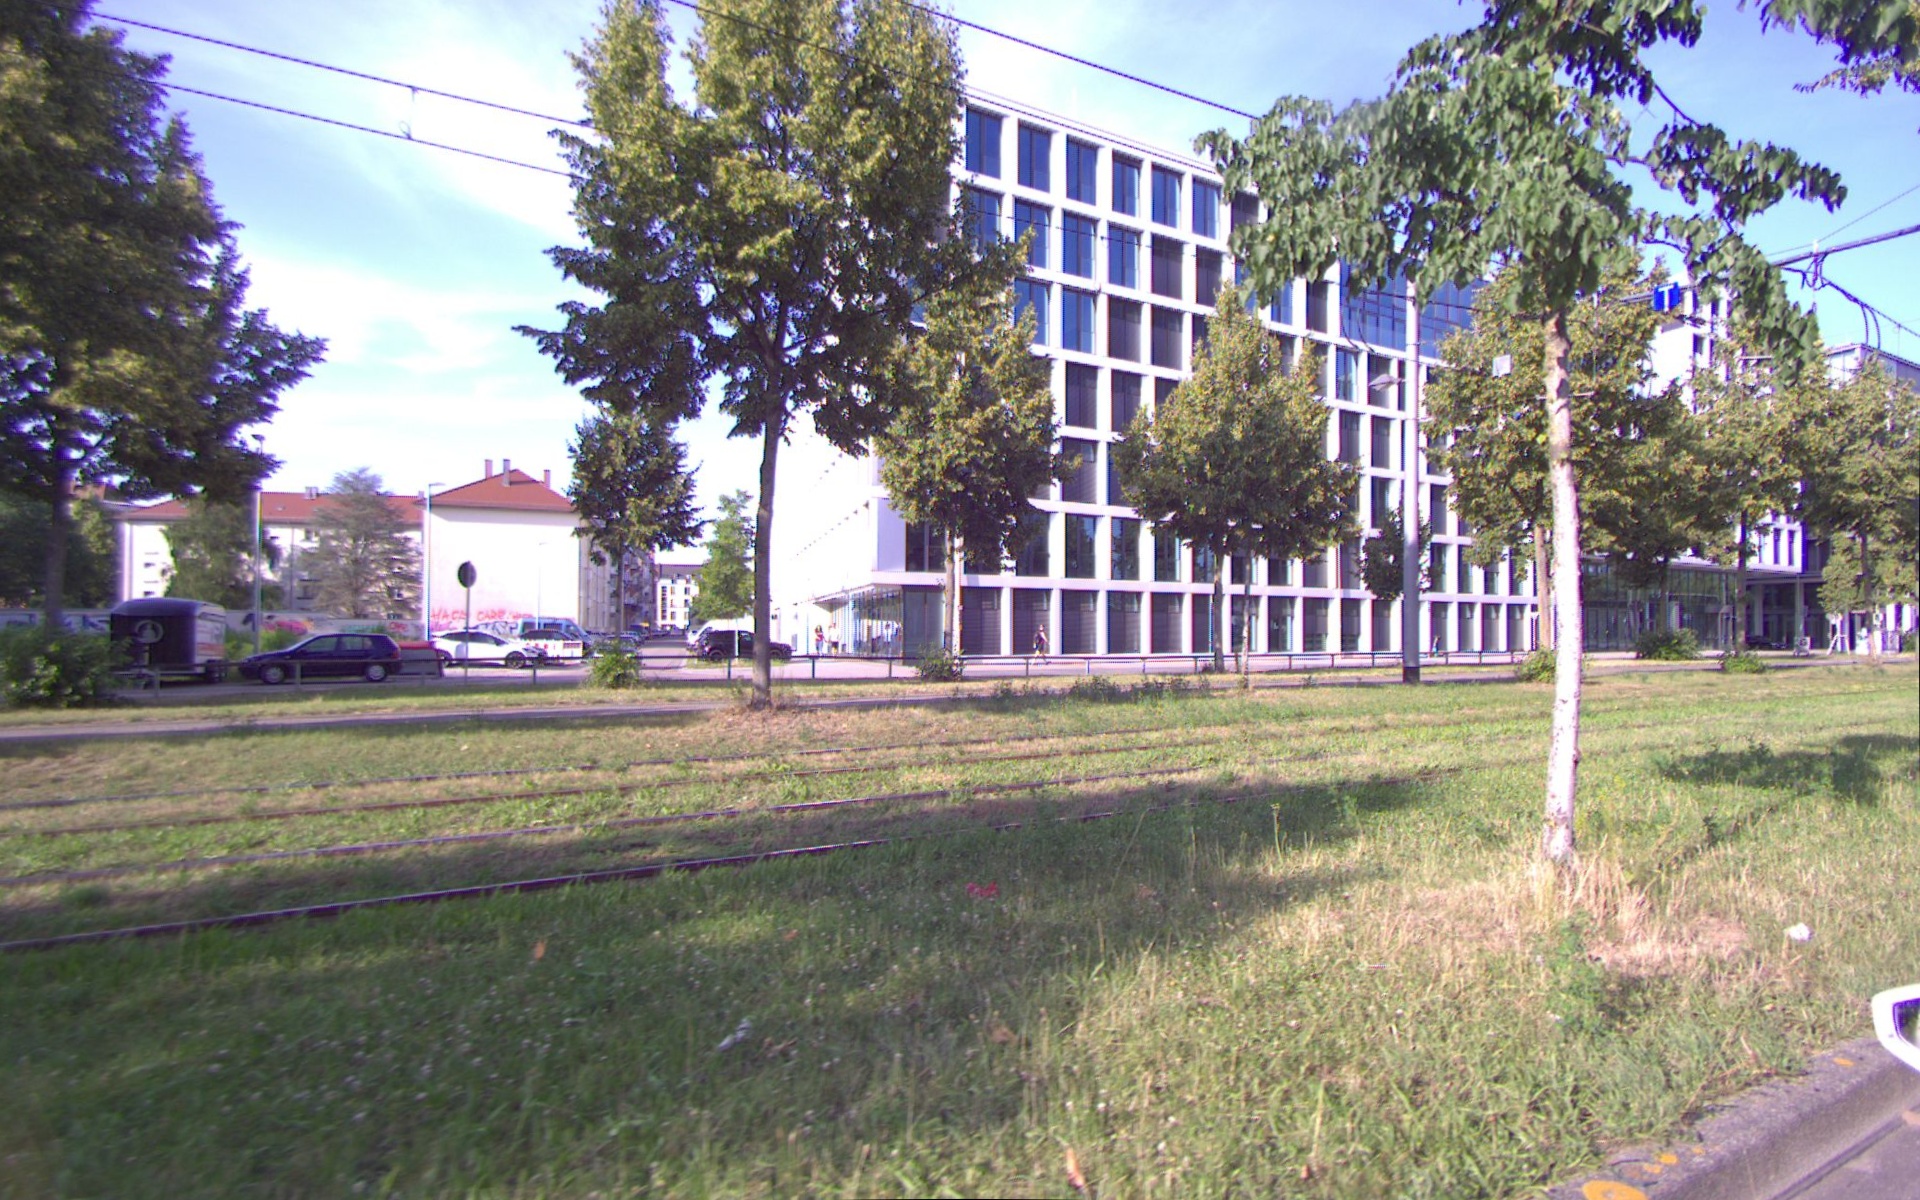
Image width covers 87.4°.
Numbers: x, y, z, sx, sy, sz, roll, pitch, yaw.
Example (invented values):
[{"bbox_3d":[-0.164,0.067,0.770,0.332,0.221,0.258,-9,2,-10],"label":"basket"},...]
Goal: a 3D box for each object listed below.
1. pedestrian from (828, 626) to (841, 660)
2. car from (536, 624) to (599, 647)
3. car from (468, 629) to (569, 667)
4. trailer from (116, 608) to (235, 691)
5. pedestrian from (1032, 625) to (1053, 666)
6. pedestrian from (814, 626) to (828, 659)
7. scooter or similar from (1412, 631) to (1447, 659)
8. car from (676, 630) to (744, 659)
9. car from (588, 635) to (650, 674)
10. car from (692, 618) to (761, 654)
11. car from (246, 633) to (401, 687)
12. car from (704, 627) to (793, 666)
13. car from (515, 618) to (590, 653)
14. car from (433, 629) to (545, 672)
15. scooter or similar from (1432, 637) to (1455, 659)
[{"bbox_3d":[-6.424,2.188,51.464,0.622,1.652,0.591,1,4,-6],"label":"pedestrian"},{"bbox_3d":[-30.332,2.719,77.769,4.424,1.649,1.696,2,0,-18],"label":"car"},{"bbox_3d":[-19.552,2.129,44.645,3.937,1.578,1.683,2,0,-18],"label":"car"},{"bbox_3d":[-21.918,1.325,28.249,1.735,2.081,4.348,2,0,-26],"label":"trailer"},{"bbox_3d":[3.565,1.973,43.428,0.683,1.751,0.565,1,0,-30],"label":"pedestrian"},{"bbox_3d":[-7.103,2.170,51.406,0.622,1.652,0.591,1,4,-6],"label":"pedestrian"},{"bbox_3d":[26.708,2.558,57.145,0.409,1.496,1.922,1,0,-26],"label":"scooter or similar"},{"bbox_3d":[-15.666,2.782,63.068,4.087,1.711,1.806,2,0,-14],"label":"car"},{"bbox_3d":[-14.571,2.308,43.125,1.743,1.446,3.995,2,0,-8],"label":"car"},{"bbox_3d":[-17.663,2.753,76.036,4.944,2.566,1.806,2,0,-14],"label":"car"},{"bbox_3d":[-18.534,1.718,29.371,3.722,1.412,1.669,2,0,-34],"label":"car"},{"bbox_3d":[-9.897,2.166,46.966,3.933,1.694,1.855,2,0,-15],"label":"car"},{"bbox_3d":[-26.942,2.326,66.626,4.424,2.187,1.847,2,0,-18],"label":"car"},{"bbox_3d":[-19.332,2.073,41.398,3.939,1.617,1.846,2,0,-20],"label":"car"},{"bbox_3d":[28.128,2.770,58.425,1.278,1.242,0.335,2,0,-17],"label":"scooter or similar"}]
